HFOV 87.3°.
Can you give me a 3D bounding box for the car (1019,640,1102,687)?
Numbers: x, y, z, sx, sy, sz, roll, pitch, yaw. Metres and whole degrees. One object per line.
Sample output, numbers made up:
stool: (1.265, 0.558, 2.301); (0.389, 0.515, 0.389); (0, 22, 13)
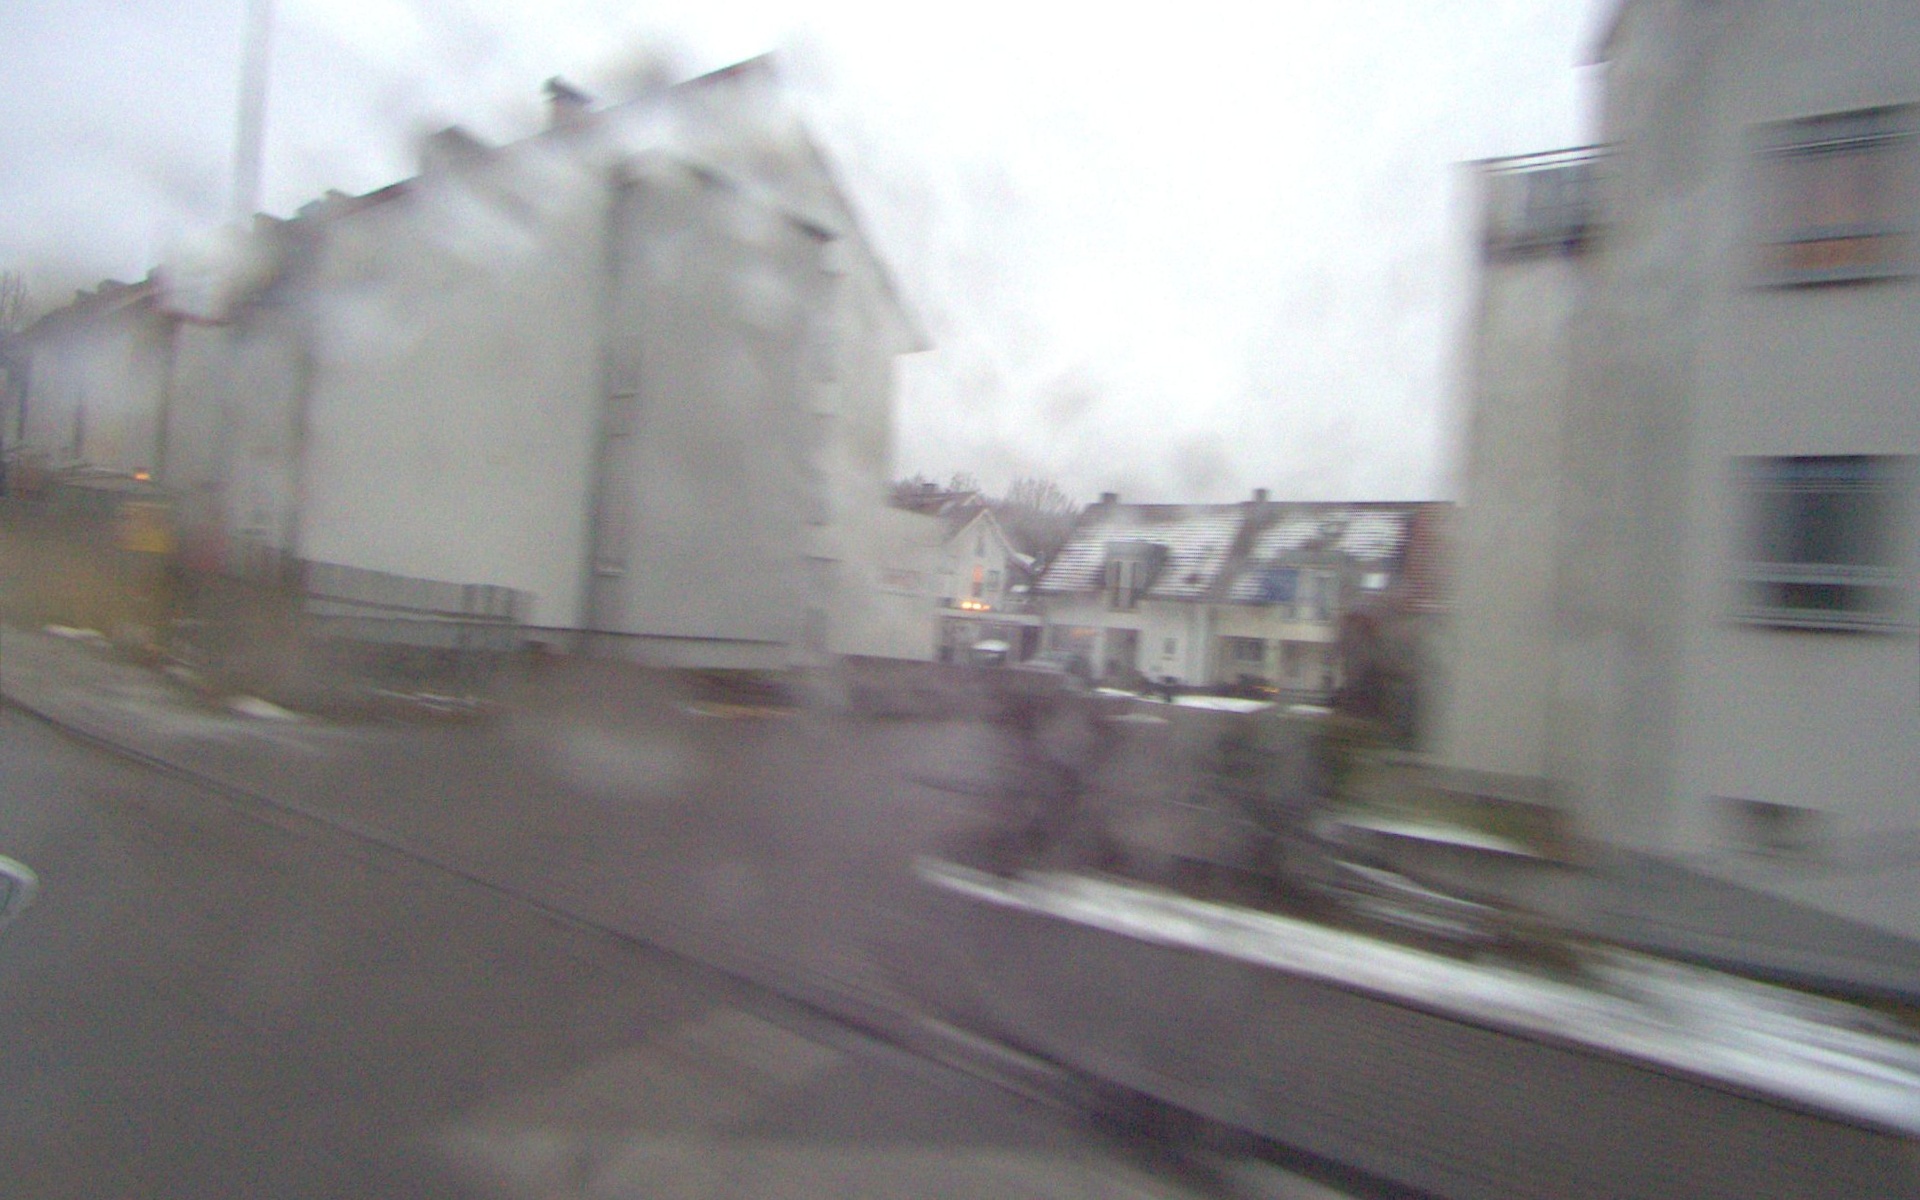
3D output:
car: (4.109, 2.562, 40.636); (1.772, 1.609, 3.993); (7, 0, 29)
